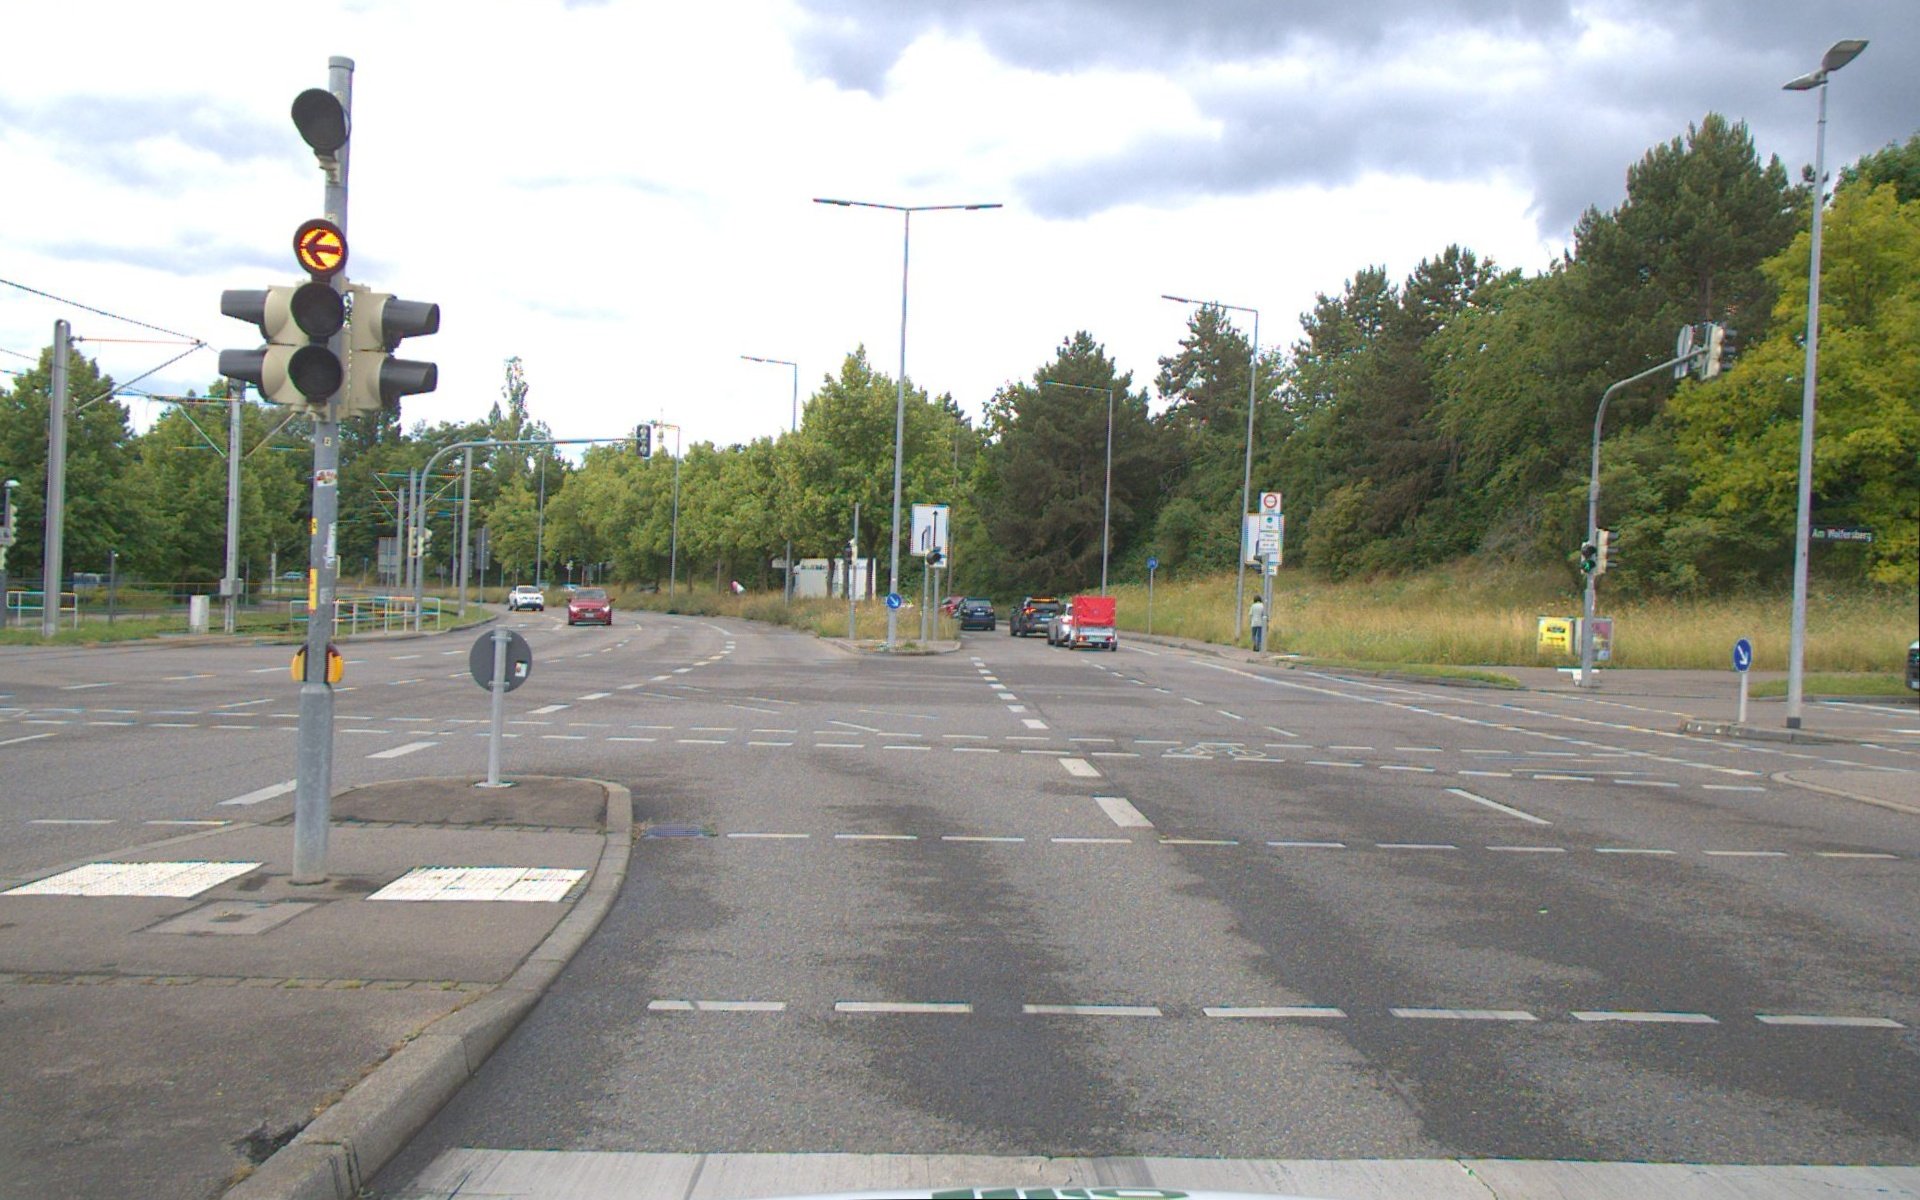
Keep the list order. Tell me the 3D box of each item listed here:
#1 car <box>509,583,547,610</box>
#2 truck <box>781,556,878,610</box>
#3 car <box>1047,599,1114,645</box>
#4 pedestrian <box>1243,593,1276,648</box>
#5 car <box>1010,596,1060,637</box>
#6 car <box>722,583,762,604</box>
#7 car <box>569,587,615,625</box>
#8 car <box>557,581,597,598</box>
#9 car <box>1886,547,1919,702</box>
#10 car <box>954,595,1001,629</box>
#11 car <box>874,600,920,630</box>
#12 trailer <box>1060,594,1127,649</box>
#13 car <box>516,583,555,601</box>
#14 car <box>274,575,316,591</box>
[{"bbox_3d":[-27.434,-0.218,105.003,1.803,1.657,4.397,0,0,-22],"label":"car"},{"bbox_3d":[-8.723,-1.147,109.022,2.704,3.387,11.319,1,0,-24],"label":"truck"},{"bbox_3d":[4.006,0.707,55.613,1.742,1.446,4.457,1,0,-2],"label":"car"},{"bbox_3d":[9.055,0.617,50.033,0.797,1.656,0.790,1,0,-1],"label":"pedestrian"},{"bbox_3d":[3.068,0.651,68.450,1.742,1.573,4.023,1,0,-2],"label":"car"},{"bbox_3d":[-16.323,-0.493,123.679,1.757,1.573,3.989,1,0,-27],"label":"car"},{"bbox_3d":[-14.735,0.233,66.410,1.749,1.468,4.412,0,0,-12],"label":"car"},{"bbox_3d":[-36.907,-0.991,159.526,1.742,1.573,4.024,1,0,22],"label":"car"},{"bbox_3d":[20.331,0.468,30.090,5.772,2.830,2.135,0,0,-1],"label":"car"},{"bbox_3d":[0.829,0.554,80.115,1.744,1.573,4.019,1,0,-7],"label":"car"},{"bbox_3d":[-3.603,0.832,94.049,1.749,1.573,4.008,1,0,-16],"label":"car"},{"bbox_3d":[4.153,0.646,51.876,1.729,1.644,3.043,1,0,-2],"label":"trailer"},{"bbox_3d":[-39.603,-0.763,154.177,3.957,1.573,1.771,1,1,45],"label":"car"},{"bbox_3d":[-69.214,-1.772,172.192,3.928,1.573,1.784,1,0,20],"label":"car"}]
